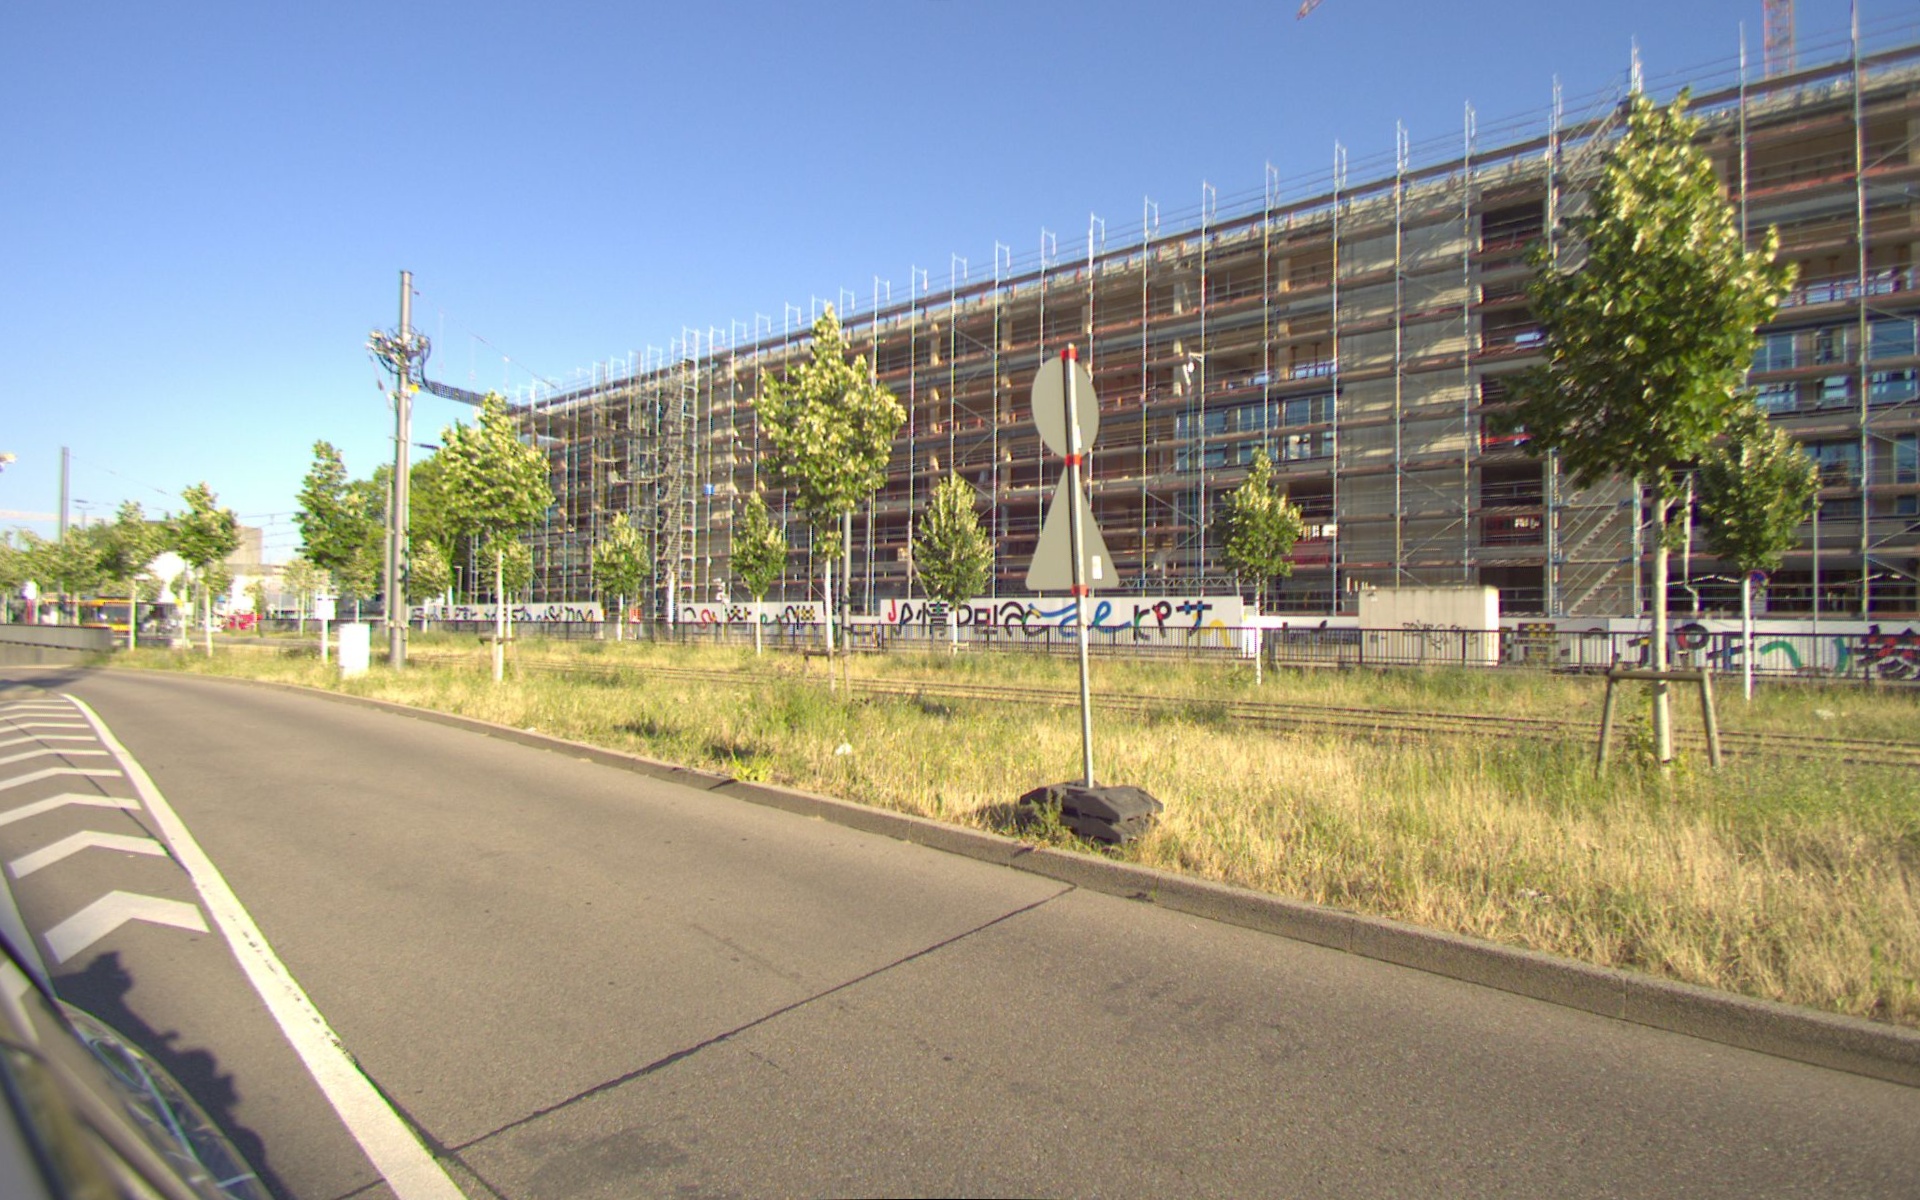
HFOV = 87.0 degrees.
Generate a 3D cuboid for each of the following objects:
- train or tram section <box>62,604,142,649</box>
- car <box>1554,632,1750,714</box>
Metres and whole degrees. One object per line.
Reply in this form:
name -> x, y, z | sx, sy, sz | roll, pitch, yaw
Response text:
train or tram section -> -70.683, 2.074, 83.228 | 12.622, 3.423, 2.916 | -1, 0, 40
car -> 16.276, 1.643, 23.877 | 3.636, 1.696, 1.771 | -1, 0, 41
